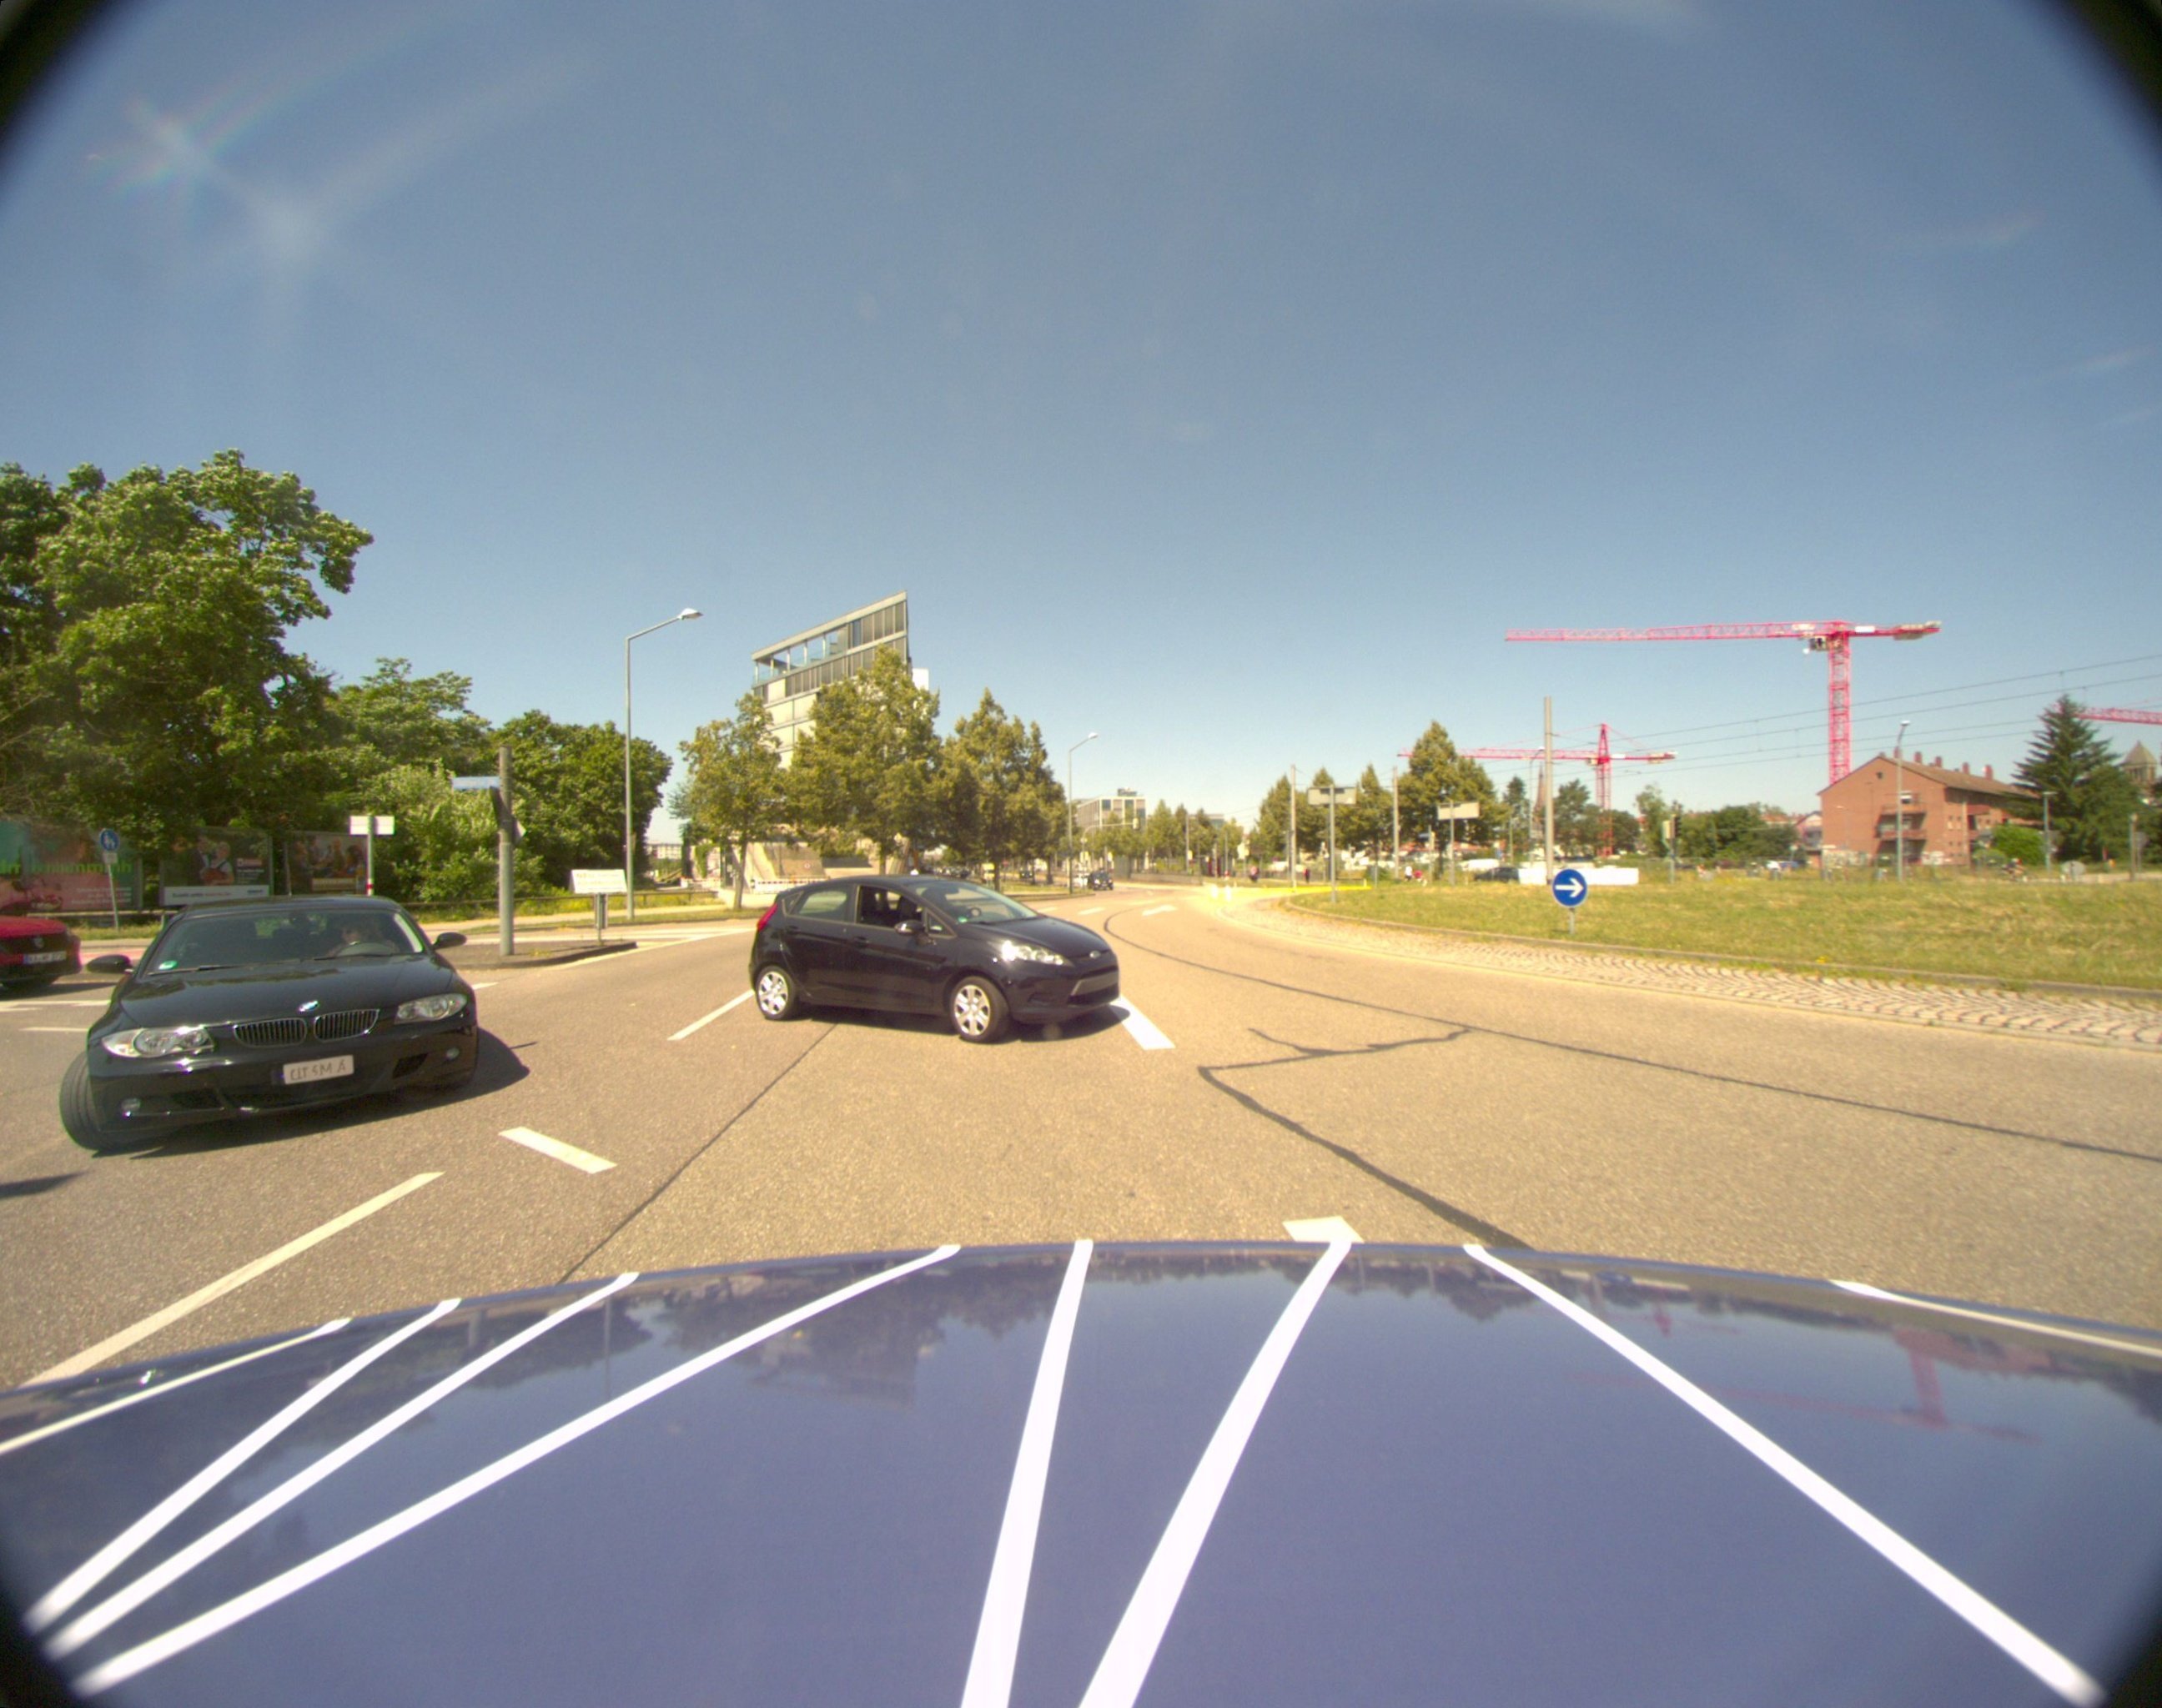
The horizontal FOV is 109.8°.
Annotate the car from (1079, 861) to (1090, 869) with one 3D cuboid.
[{"bbox_3d":[0.955,2.790,199.650,2.001,2.002,3.896,0,1,-13],"label":"car"}]

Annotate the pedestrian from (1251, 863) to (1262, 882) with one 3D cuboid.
[{"bbox_3d":[14.951,1.580,64.748,0.760,1.630,0.781,0,1,1],"label":"pedestrian"}]

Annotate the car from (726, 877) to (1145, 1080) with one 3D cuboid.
[{"bbox_3d":[-1.470,0.995,7.374,3.809,1.499,1.637,-1,-1,29],"label":"car"}]

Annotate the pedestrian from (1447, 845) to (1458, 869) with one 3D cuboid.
[{"bbox_3d":[31.836,0.272,65.091,0.595,2.002,0.602,0,1,-12],"label":"pedestrian"}]

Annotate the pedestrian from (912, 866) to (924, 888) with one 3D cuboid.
[{"bbox_3d":[-13.406,1.886,62.536,0.834,1.858,0.611,0,1,2],"label":"pedestrian"}]

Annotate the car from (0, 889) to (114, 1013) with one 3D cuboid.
[{"bbox_3d":[-15.875,1.284,9.694,4.213,1.518,1.719,-1,0,-12],"label":"car"}]

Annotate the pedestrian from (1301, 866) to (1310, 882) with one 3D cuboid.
[{"bbox_3d":[19.468,1.737,65.856,0.597,1.398,0.543,-1,0,0],"label":"pedestrian"}]

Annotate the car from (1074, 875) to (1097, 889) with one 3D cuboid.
[{"bbox_3d":[0.385,2.617,71.576,1.577,1.218,3.320,0,1,-10],"label":"car"}]

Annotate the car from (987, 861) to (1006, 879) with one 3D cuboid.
[{"bbox_3d":[-11.971,2.208,107.458,2.001,2.493,3.995,-1,-1,-15],"label":"car"}]

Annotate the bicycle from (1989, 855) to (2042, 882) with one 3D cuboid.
[{"bbox_3d":[60.764,0.920,49.455,2.079,1.675,0.561,1,2,42],"label":"bicycle"}]

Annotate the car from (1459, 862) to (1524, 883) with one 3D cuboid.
[{"bbox_3d":[31.661,1.420,58.651,2.004,1.455,3.988,-1,1,-42],"label":"car"}]

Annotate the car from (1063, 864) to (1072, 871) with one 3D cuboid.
[{"bbox_3d":[-4.185,4.156,228.624,2.001,2.002,3.995,0,1,-12],"label":"car"}]

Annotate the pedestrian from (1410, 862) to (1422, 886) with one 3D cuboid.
[{"bbox_3d":[28.336,1.708,64.279,0.746,2.002,0.732,0,1,0],"label":"pedestrian"}]

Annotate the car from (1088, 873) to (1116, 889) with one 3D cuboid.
[{"bbox_3d":[1.768,2.315,65.885,1.741,1.205,3.562,0,1,-10],"label":"car"}]

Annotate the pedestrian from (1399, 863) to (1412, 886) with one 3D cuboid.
[{"bbox_3d":[27.472,1.739,64.361,0.814,1.887,0.732,0,1,0],"label":"pedestrian"}]

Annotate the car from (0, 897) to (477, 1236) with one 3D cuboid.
[{"bbox_3d":[-5.939,1.127,5.653,1.806,1.432,3.989,-2,0,-45],"label":"car"}]
